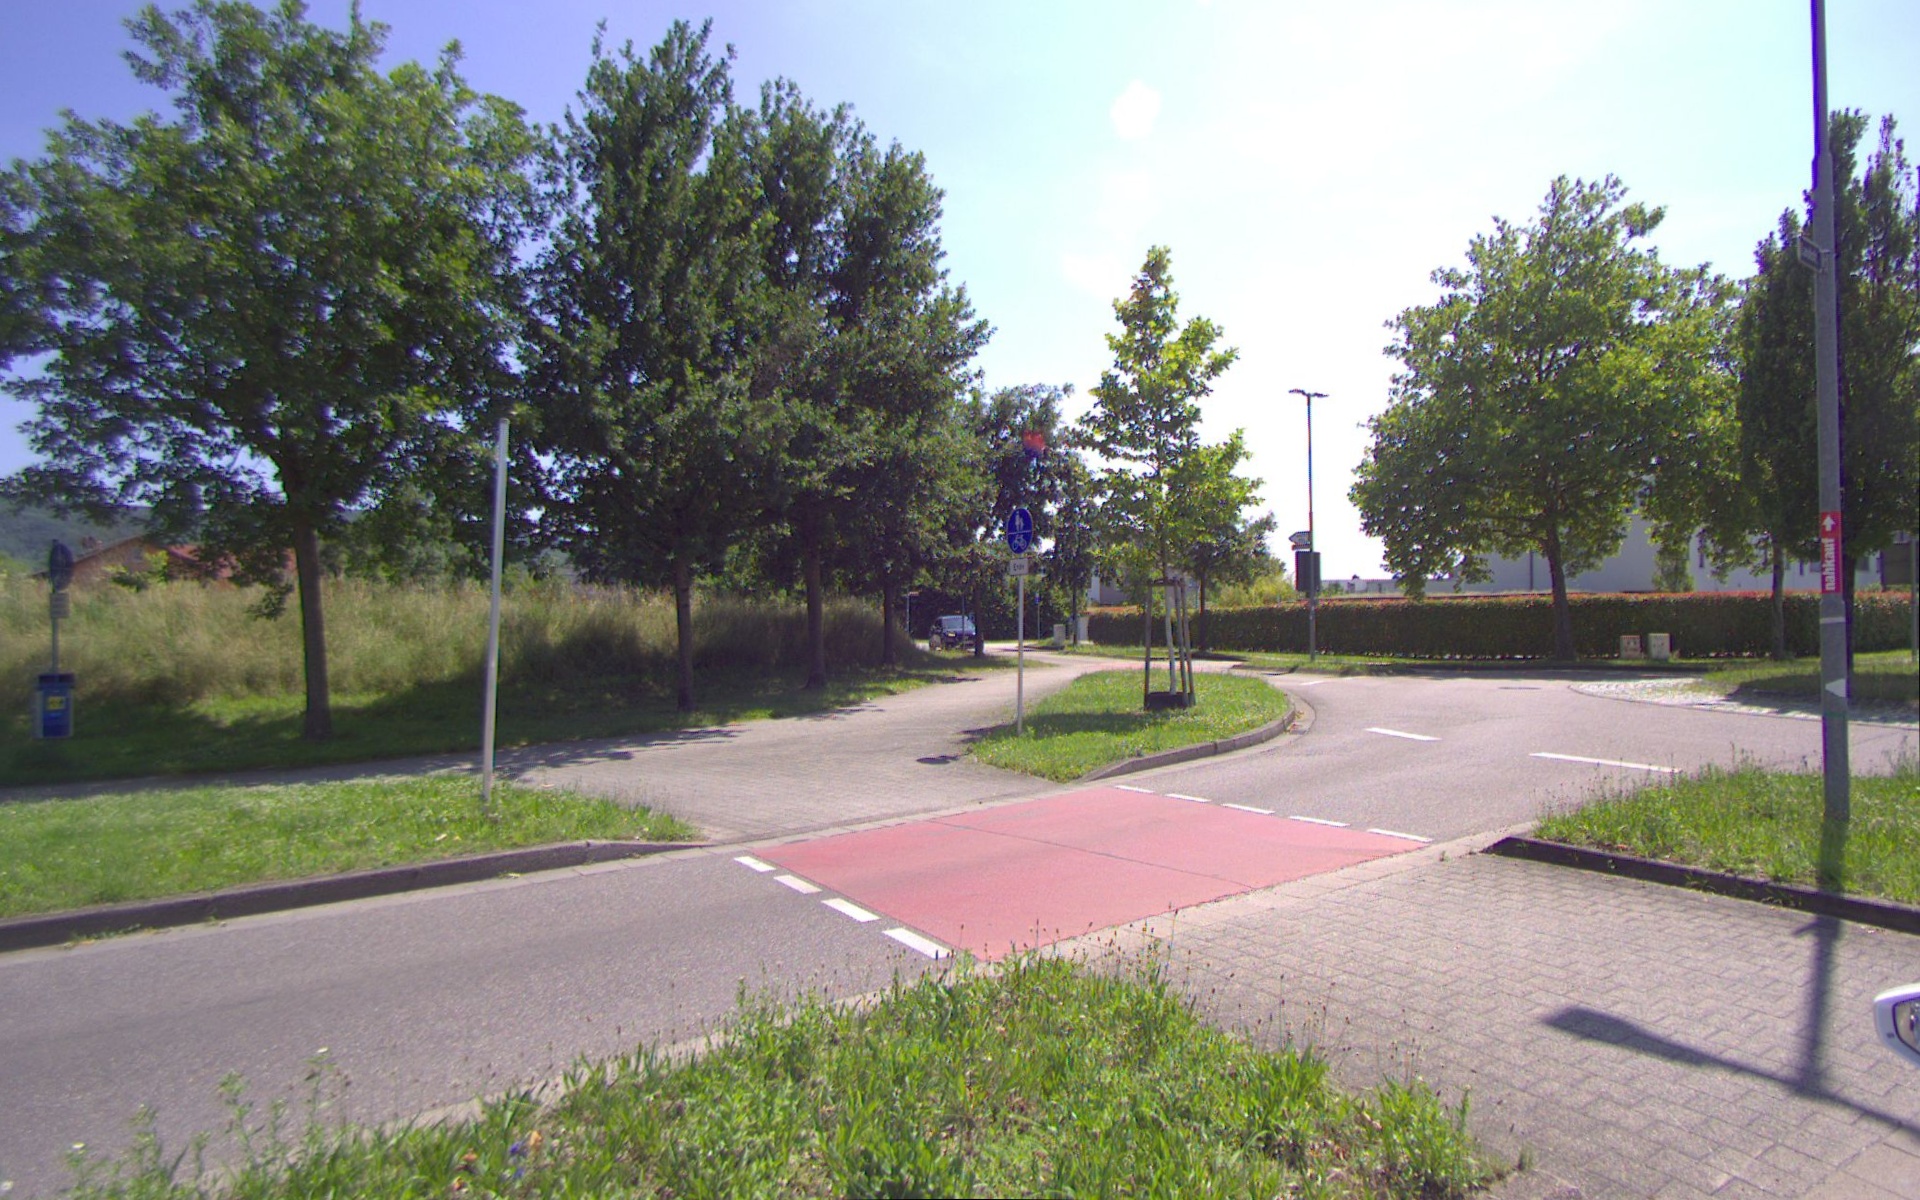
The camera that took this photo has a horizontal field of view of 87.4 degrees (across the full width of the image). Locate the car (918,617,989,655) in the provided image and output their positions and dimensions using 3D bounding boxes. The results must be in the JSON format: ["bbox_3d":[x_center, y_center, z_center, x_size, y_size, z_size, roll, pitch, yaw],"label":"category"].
[{"bbox_3d":[-0.373,1.579,44.617,1.837,1.589,4.468,0,-1,-19],"label":"car"}]
